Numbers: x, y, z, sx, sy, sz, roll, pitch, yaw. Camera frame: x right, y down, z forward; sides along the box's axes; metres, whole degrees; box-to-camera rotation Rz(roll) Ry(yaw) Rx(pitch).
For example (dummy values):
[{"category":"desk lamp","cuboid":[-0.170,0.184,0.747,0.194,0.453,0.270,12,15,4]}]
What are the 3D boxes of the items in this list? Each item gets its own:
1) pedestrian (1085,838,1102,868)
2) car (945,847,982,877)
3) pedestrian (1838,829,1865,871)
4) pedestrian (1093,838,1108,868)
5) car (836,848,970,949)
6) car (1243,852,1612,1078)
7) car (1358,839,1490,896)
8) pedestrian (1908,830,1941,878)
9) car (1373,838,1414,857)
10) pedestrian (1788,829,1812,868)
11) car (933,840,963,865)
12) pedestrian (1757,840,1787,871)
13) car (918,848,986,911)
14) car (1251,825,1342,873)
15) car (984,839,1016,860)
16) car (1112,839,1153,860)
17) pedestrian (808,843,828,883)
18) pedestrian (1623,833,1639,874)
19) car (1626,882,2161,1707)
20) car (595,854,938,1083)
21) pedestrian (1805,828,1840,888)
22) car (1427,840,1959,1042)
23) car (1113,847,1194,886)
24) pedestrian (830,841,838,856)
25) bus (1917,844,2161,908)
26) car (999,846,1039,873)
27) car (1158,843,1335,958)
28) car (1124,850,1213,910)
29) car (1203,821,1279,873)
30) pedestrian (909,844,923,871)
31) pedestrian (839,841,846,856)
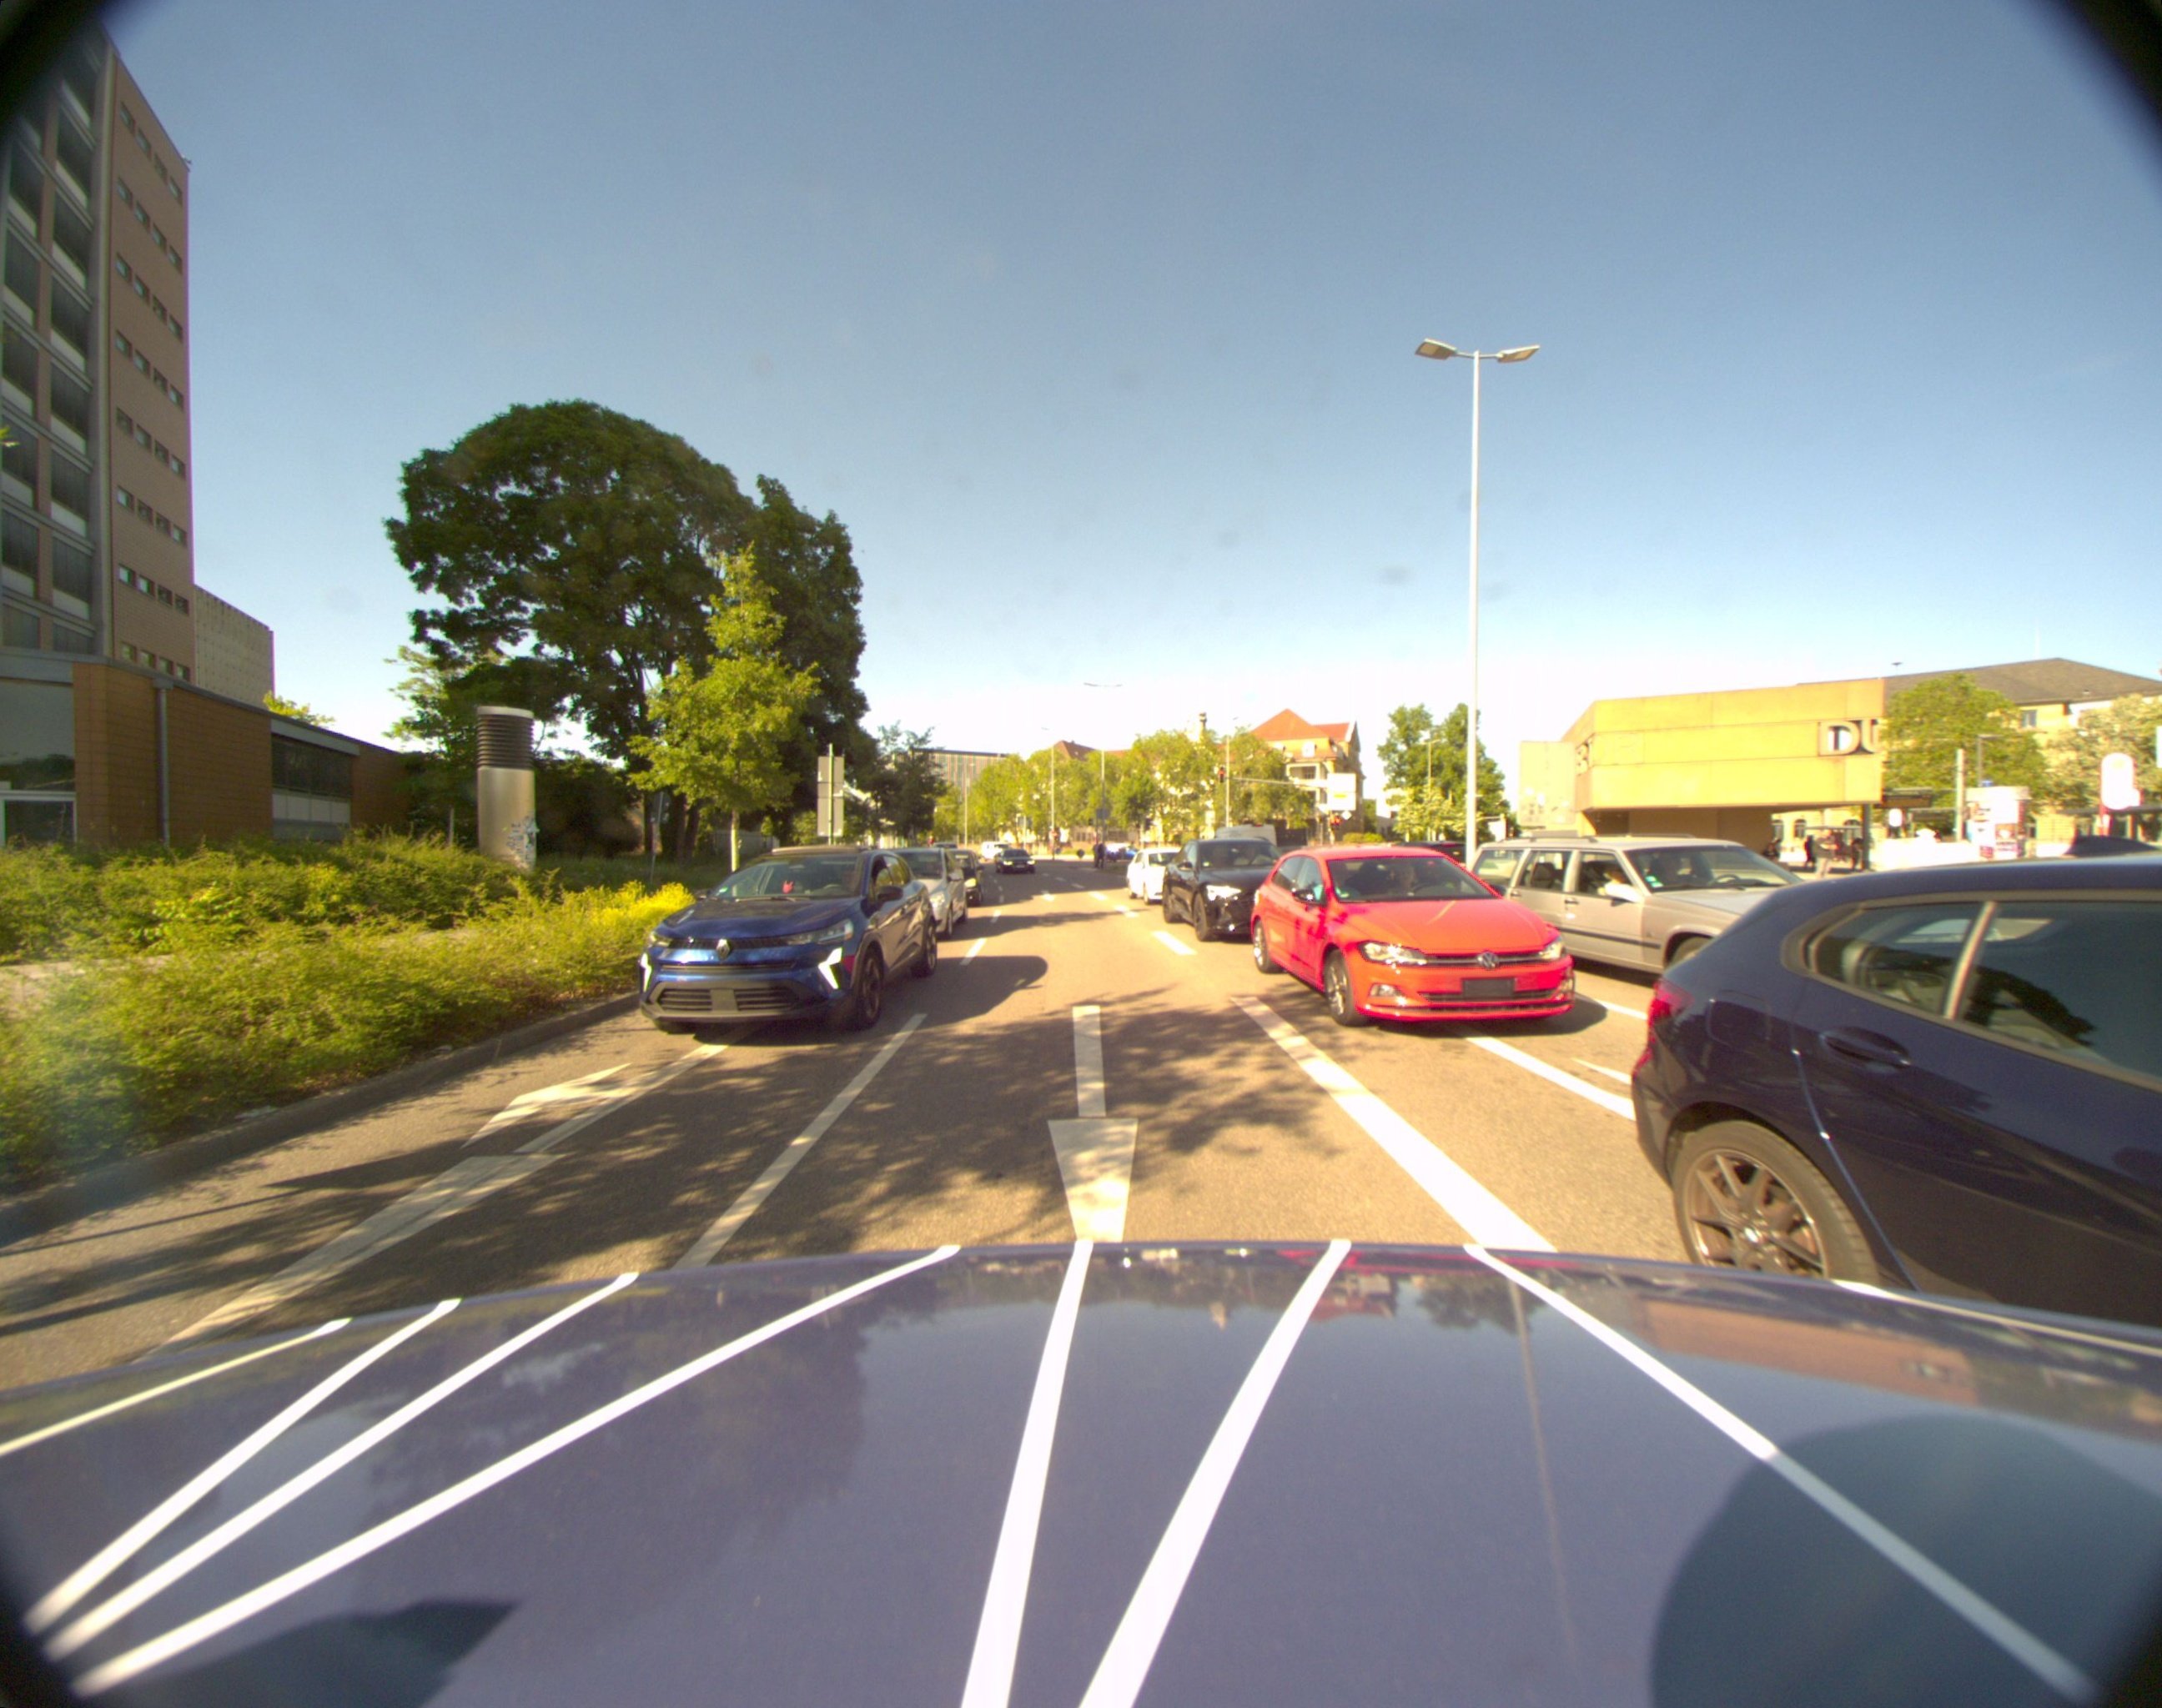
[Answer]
[{"category":"pedestrian","cuboid":[0.772,-0.075,47.446,0.887,1.815,0.776,-2,2,-7]},{"category":"car","cuboid":[-6.489,0.404,41.681,1.753,1.467,3.569,-2,2,-12]},{"category":"pedestrian","cuboid":[32.923,-0.173,32.474,0.645,1.766,0.468,-1,1,-4]},{"category":"pedestrian","cuboid":[1.153,-0.074,46.050,0.756,1.815,0.776,-2,2,-6]},{"category":"car","cuboid":[-3.171,0.702,14.339,1.786,1.615,4.041,0,1,-3]},{"category":"car","cuboid":[2.818,0.765,7.189,1.674,1.464,3.852,-2,1,-1]},{"category":"car","cuboid":[10.781,0.378,24.221,1.870,1.649,4.068,0,1,-10]},{"category":"pedestrian","cuboid":[31.407,-0.002,28.295,0.644,1.766,0.469,0,1,20]},{"category":"car","cuboid":[28.938,-0.598,70.328,3.384,1.670,1.523,0,1,-19]},{"category":"pedestrian","cuboid":[33.046,-0.256,34.915,0.645,1.766,0.468,-1,1,-4]},{"category":"car","cuboid":[-10.114,-0.136,57.687,1.829,1.843,3.746,-1,1,-16]},{"category":"pedestrian","cuboid":[30.055,0.063,33.036,0.645,1.303,0.763,0,1,9]},{"category":"car","cuboid":[-3.563,0.644,21.442,1.651,1.601,3.487,0,1,-6]},{"category":"car","cuboid":[11.086,-0.290,39.711,2.117,2.300,6.208,-1,1,-10]},{"category":"car","cuboid":[-8.186,-0.474,76.283,1.790,2.002,4.222,-2,2,-26]},{"category":"car","cuboid":[4.271,-0.378,63.317,3.065,1.596,1.598,-1,3,19]},{"category":"pedestrian","cuboid":[-10.663,0.361,30.834,0.693,1.595,0.660,-1,1,-14]},{"category":"pedestrian","cuboid":[23.972,-0.045,33.115,0.467,1.766,0.647,0,2,29]},{"category":"car","cuboid":[2.693,0.878,0.578,1.715,1.437,4.031,-2,1,1]},{"category":"car","cuboid":[-2.669,0.837,7.578,1.705,1.596,4.083,-1,1,0]},{"category":"pedestrian","cuboid":[22.797,0.121,23.360,0.647,1.778,0.666,-3,2,-37]},{"category":"car","cuboid":[5.756,0.650,8.152,1.713,1.464,4.750,-2,0,-2]},{"category":"car","cuboid":[2.780,0.444,29.736,1.754,1.370,3.567,-1,1,-20]},{"category":"pedestrian","cuboid":[-32.847,-0.728,101.037,0.822,1.906,0.770,-3,2,-19]},{"category":"bus","cuboid":[21.629,0.400,16.726,1.646,1.234,4.181,-1,1,-5]},{"category":"car","cuboid":[-3.670,0.279,44.376,1.882,1.473,3.996,-2,1,-10]},{"category":"car","cuboid":[2.585,0.623,12.999,1.859,1.606,4.451,0,1,-3]},{"category":"car","cuboid":[2.248,0.616,20.468,1.575,1.410,3.710,-1,1,-6]},{"category":"car","cuboid":[8.169,-0.367,39.334,2.000,2.493,5.413,0,1,-10]},{"category":"pedestrian","cuboid":[-9.679,0.206,44.547,0.662,1.595,0.691,-1,1,-24]},{"category":"pedestrian","cuboid":[-31.846,-0.770,101.392,0.822,1.906,0.770,-3,2,-19]}]
